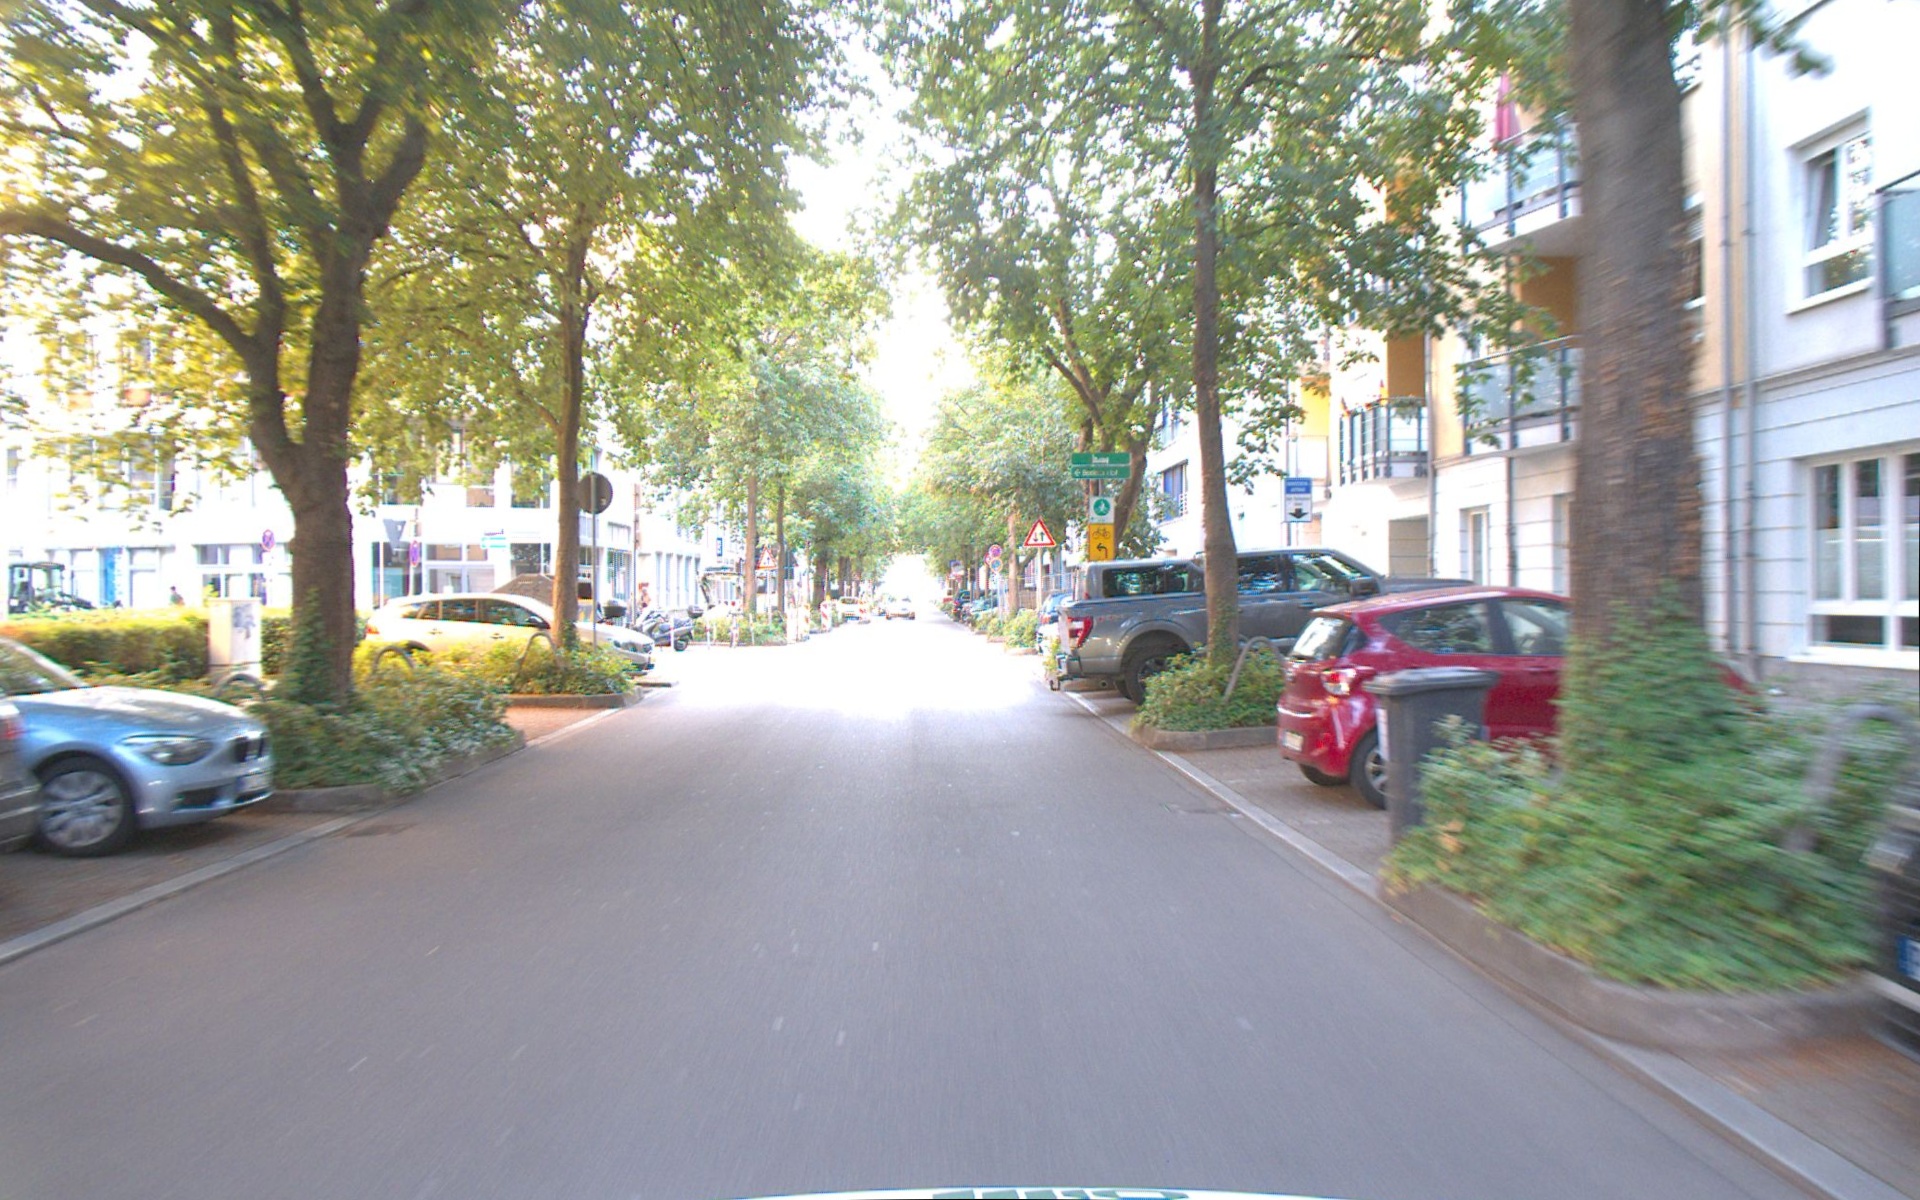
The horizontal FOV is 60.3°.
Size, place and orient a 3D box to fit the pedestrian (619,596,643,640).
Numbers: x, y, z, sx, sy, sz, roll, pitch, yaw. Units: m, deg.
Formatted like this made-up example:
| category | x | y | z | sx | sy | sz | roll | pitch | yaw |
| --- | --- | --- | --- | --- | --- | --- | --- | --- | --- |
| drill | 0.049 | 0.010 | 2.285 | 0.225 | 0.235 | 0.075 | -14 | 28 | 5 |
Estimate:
| category | x | y | z | sx | sy | sz | roll | pitch | yaw |
| --- | --- | --- | --- | --- | --- | --- | --- | --- | --- |
| pedestrian | -11.902 | 0.644 | 59.878 | 0.754 | 1.562 | 0.642 | -1 | 0 | -2 |

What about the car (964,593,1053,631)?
| category | x | y | z | sx | sy | sz | roll | pitch | yaw |
| --- | --- | --- | --- | --- | --- | --- | --- | --- | --- |
| car | 2.125 | 0.533 | 73.659 | 3.905 | 1.613 | 2.000 | -1 | 0 | 0 |

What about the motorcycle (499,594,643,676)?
| category | x | y | z | sx | sy | sz | roll | pitch | yaw |
| --- | --- | --- | --- | --- | --- | --- | --- | --- | --- |
| motorcycle | -7.119 | 0.630 | 30.345 | 2.402 | 1.445 | 0.911 | -1 | 0 | 0 |

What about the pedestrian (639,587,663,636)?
| category | x | y | z | sx | sy | sz | roll | pitch | yaw |
| --- | --- | --- | --- | --- | --- | --- | --- | --- | --- |
| pedestrian | -11.158 | 0.413 | 59.763 | 0.724 | 1.720 | 0.607 | -1 | 0 | 0 |

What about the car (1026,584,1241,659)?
| category | x | y | z | sx | sy | sz | roll | pitch | yaw |
| --- | --- | --- | --- | --- | --- | --- | --- | --- | --- |
| car | 3.795 | 0.451 | 36.712 | 4.528 | 1.598 | 2.010 | 0 | 0 | -2 |

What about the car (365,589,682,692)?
| category | x | y | z | sx | sy | sz | roll | pitch | yaw |
| --- | --- | --- | --- | --- | --- | --- | --- | --- | --- |
| car | -6.922 | 0.621 | 26.592 | 4.524 | 1.579 | 2.075 | 0 | 0 | 1 |

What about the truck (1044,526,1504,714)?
| category | x | y | z | sx | sy | sz | roll | pitch | yaw |
| --- | --- | --- | --- | --- | --- | --- | --- | --- | --- |
| truck | 4.087 | 0.246 | 22.300 | 5.768 | 2.351 | 2.212 | -1 | 0 | -1 |

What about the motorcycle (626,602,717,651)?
| category | x | y | z | sx | sy | sz | roll | pitch | yaw |
| --- | --- | --- | --- | --- | --- | --- | --- | --- | --- |
| motorcycle | -8.084 | 0.728 | 46.435 | 2.337 | 1.304 | 1.051 | -1 | 1 | -42 |

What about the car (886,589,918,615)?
| category | x | y | z | sx | sy | sz | roll | pitch | yaw |
| --- | --- | --- | --- | --- | --- | --- | --- | --- | --- |
| car | -3.782 | 0.115 | 107.178 | 1.969 | 1.641 | 4.117 | -1 | 0 | -3 |

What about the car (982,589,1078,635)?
| category | x | y | z | sx | sy | sz | roll | pitch | yaw |
| --- | --- | --- | --- | --- | --- | --- | --- | --- | --- |
| car | 2.919 | 0.481 | 69.106 | 3.904 | 1.836 | 2.001 | -1 | 0 | 2 |

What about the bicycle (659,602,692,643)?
| category | x | y | z | sx | sy | sz | roll | pitch | yaw |
| --- | --- | --- | --- | --- | --- | --- | --- | --- | --- |
| bicycle | -8.593 | 0.660 | 50.014 | 0.669 | 1.173 | 1.981 | -1 | 1 | -1 |

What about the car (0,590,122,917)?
| category | x | y | z | sx | sy | sz | roll | pitch | yaw |
| --- | --- | --- | --- | --- | --- | --- | --- | --- | --- |
| car | -6.630 | 0.766 | 8.257 | 3.903 | 1.593 | 1.930 | 0 | 0 | 3 |

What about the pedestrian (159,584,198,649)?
| category | x | y | z | sx | sy | sz | roll | pitch | yaw |
| --- | --- | --- | --- | --- | --- | --- | --- | --- | --- |
| pedestrian | -23.055 | 0.468 | 48.803 | 0.880 | 1.883 | 0.865 | -1 | 0 | -36 |

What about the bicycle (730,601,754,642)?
| category | x | y | z | sx | sy | sz | roll | pitch | yaw |
| --- | --- | --- | --- | --- | --- | --- | --- | --- | --- |
| bicycle | -6.601 | 0.645 | 50.099 | 0.670 | 1.173 | 1.978 | -1 | 1 | -7 |

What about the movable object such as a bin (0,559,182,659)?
| category | x | y | z | sx | sy | sz | roll | pitch | yaw |
| --- | --- | --- | --- | --- | --- | --- | --- | --- | --- |
| movable object such as a bin | -25.436 | 0.247 | 47.539 | 5.512 | 2.739 | 2.285 | 0 | 0 | 19 |

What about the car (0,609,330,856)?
| category | x | y | z | sx | sy | sz | roll | pitch | yaw |
| --- | --- | --- | --- | --- | --- | --- | --- | --- | --- |
| car | -6.613 | 0.817 | 10.886 | 4.201 | 1.455 | 1.879 | 0 | 0 | -2 |

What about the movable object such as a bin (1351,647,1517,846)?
| category | x | y | z | sx | sy | sz | roll | pitch | yaw |
| --- | --- | --- | --- | --- | --- | --- | --- | --- | --- |
| movable object such as a bin | 2.872 | 0.870 | 10.084 | 0.745 | 1.103 | 0.785 | -2 | 0 | -1 |

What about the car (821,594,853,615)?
| category | x | y | z | sx | sy | sz | roll | pitch | yaw |
| --- | --- | --- | --- | --- | --- | --- | --- | --- | --- |
| car | -8.149 | 0.269 | 109.348 | 1.955 | 1.310 | 3.995 | -1 | 0 | -6 |

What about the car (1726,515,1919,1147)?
| category | x | y | z | sx | sy | sz | roll | pitch | yaw |
| --- | --- | --- | --- | --- | --- | --- | --- | --- | --- |
| car | 4.737 | 0.444 | 4.277 | 4.553 | 1.645 | 2.008 | -4 | 0 | -6 |

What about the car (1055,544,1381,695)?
| category | x | y | z | sx | sy | sz | roll | pitch | yaw |
| --- | --- | --- | --- | --- | --- | --- | --- | --- | --- |
| car | 3.805 | 0.273 | 25.035 | 4.508 | 2.102 | 2.196 | -1 | 0 | -3 |

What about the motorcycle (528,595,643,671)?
| category | x | y | z | sx | sy | sz | roll | pitch | yaw |
| --- | --- | --- | --- | --- | --- | --- | --- | --- | --- |
| motorcycle | -7.351 | 0.638 | 32.413 | 2.204 | 1.445 | 0.851 | -1 | 0 | 30 |

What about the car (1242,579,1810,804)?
| category | x | y | z | sx | sy | sz | roll | pitch | yaw |
| --- | --- | --- | --- | --- | --- | --- | --- | --- | --- |
| car | 4.199 | 0.637 | 12.682 | 3.701 | 1.571 | 1.876 | 0 | 0 | -3 |

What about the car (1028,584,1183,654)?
| category | x | y | z | sx | sy | sz | roll | pitch | yaw |
| --- | --- | --- | --- | --- | --- | --- | --- | --- | --- |
| car | 3.419 | 0.440 | 39.361 | 3.467 | 1.591 | 1.831 | -1 | 0 | -2 |

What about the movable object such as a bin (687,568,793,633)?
| category | x | y | z | sx | sy | sz | roll | pitch | yaw |
| --- | --- | --- | --- | --- | --- | --- | --- | --- | --- |
| movable object such as a bin | -8.543 | 0.005 | 64.434 | 3.969 | 2.424 | 2.780 | -1 | 1 | -7 |

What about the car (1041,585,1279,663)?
| category | x | y | z | sx | sy | sz | roll | pitch | yaw |
| --- | --- | --- | --- | --- | --- | --- | --- | --- | --- |
| car | 4.082 | 0.477 | 34.326 | 4.685 | 1.547 | 1.991 | 0 | 0 | 0 |
